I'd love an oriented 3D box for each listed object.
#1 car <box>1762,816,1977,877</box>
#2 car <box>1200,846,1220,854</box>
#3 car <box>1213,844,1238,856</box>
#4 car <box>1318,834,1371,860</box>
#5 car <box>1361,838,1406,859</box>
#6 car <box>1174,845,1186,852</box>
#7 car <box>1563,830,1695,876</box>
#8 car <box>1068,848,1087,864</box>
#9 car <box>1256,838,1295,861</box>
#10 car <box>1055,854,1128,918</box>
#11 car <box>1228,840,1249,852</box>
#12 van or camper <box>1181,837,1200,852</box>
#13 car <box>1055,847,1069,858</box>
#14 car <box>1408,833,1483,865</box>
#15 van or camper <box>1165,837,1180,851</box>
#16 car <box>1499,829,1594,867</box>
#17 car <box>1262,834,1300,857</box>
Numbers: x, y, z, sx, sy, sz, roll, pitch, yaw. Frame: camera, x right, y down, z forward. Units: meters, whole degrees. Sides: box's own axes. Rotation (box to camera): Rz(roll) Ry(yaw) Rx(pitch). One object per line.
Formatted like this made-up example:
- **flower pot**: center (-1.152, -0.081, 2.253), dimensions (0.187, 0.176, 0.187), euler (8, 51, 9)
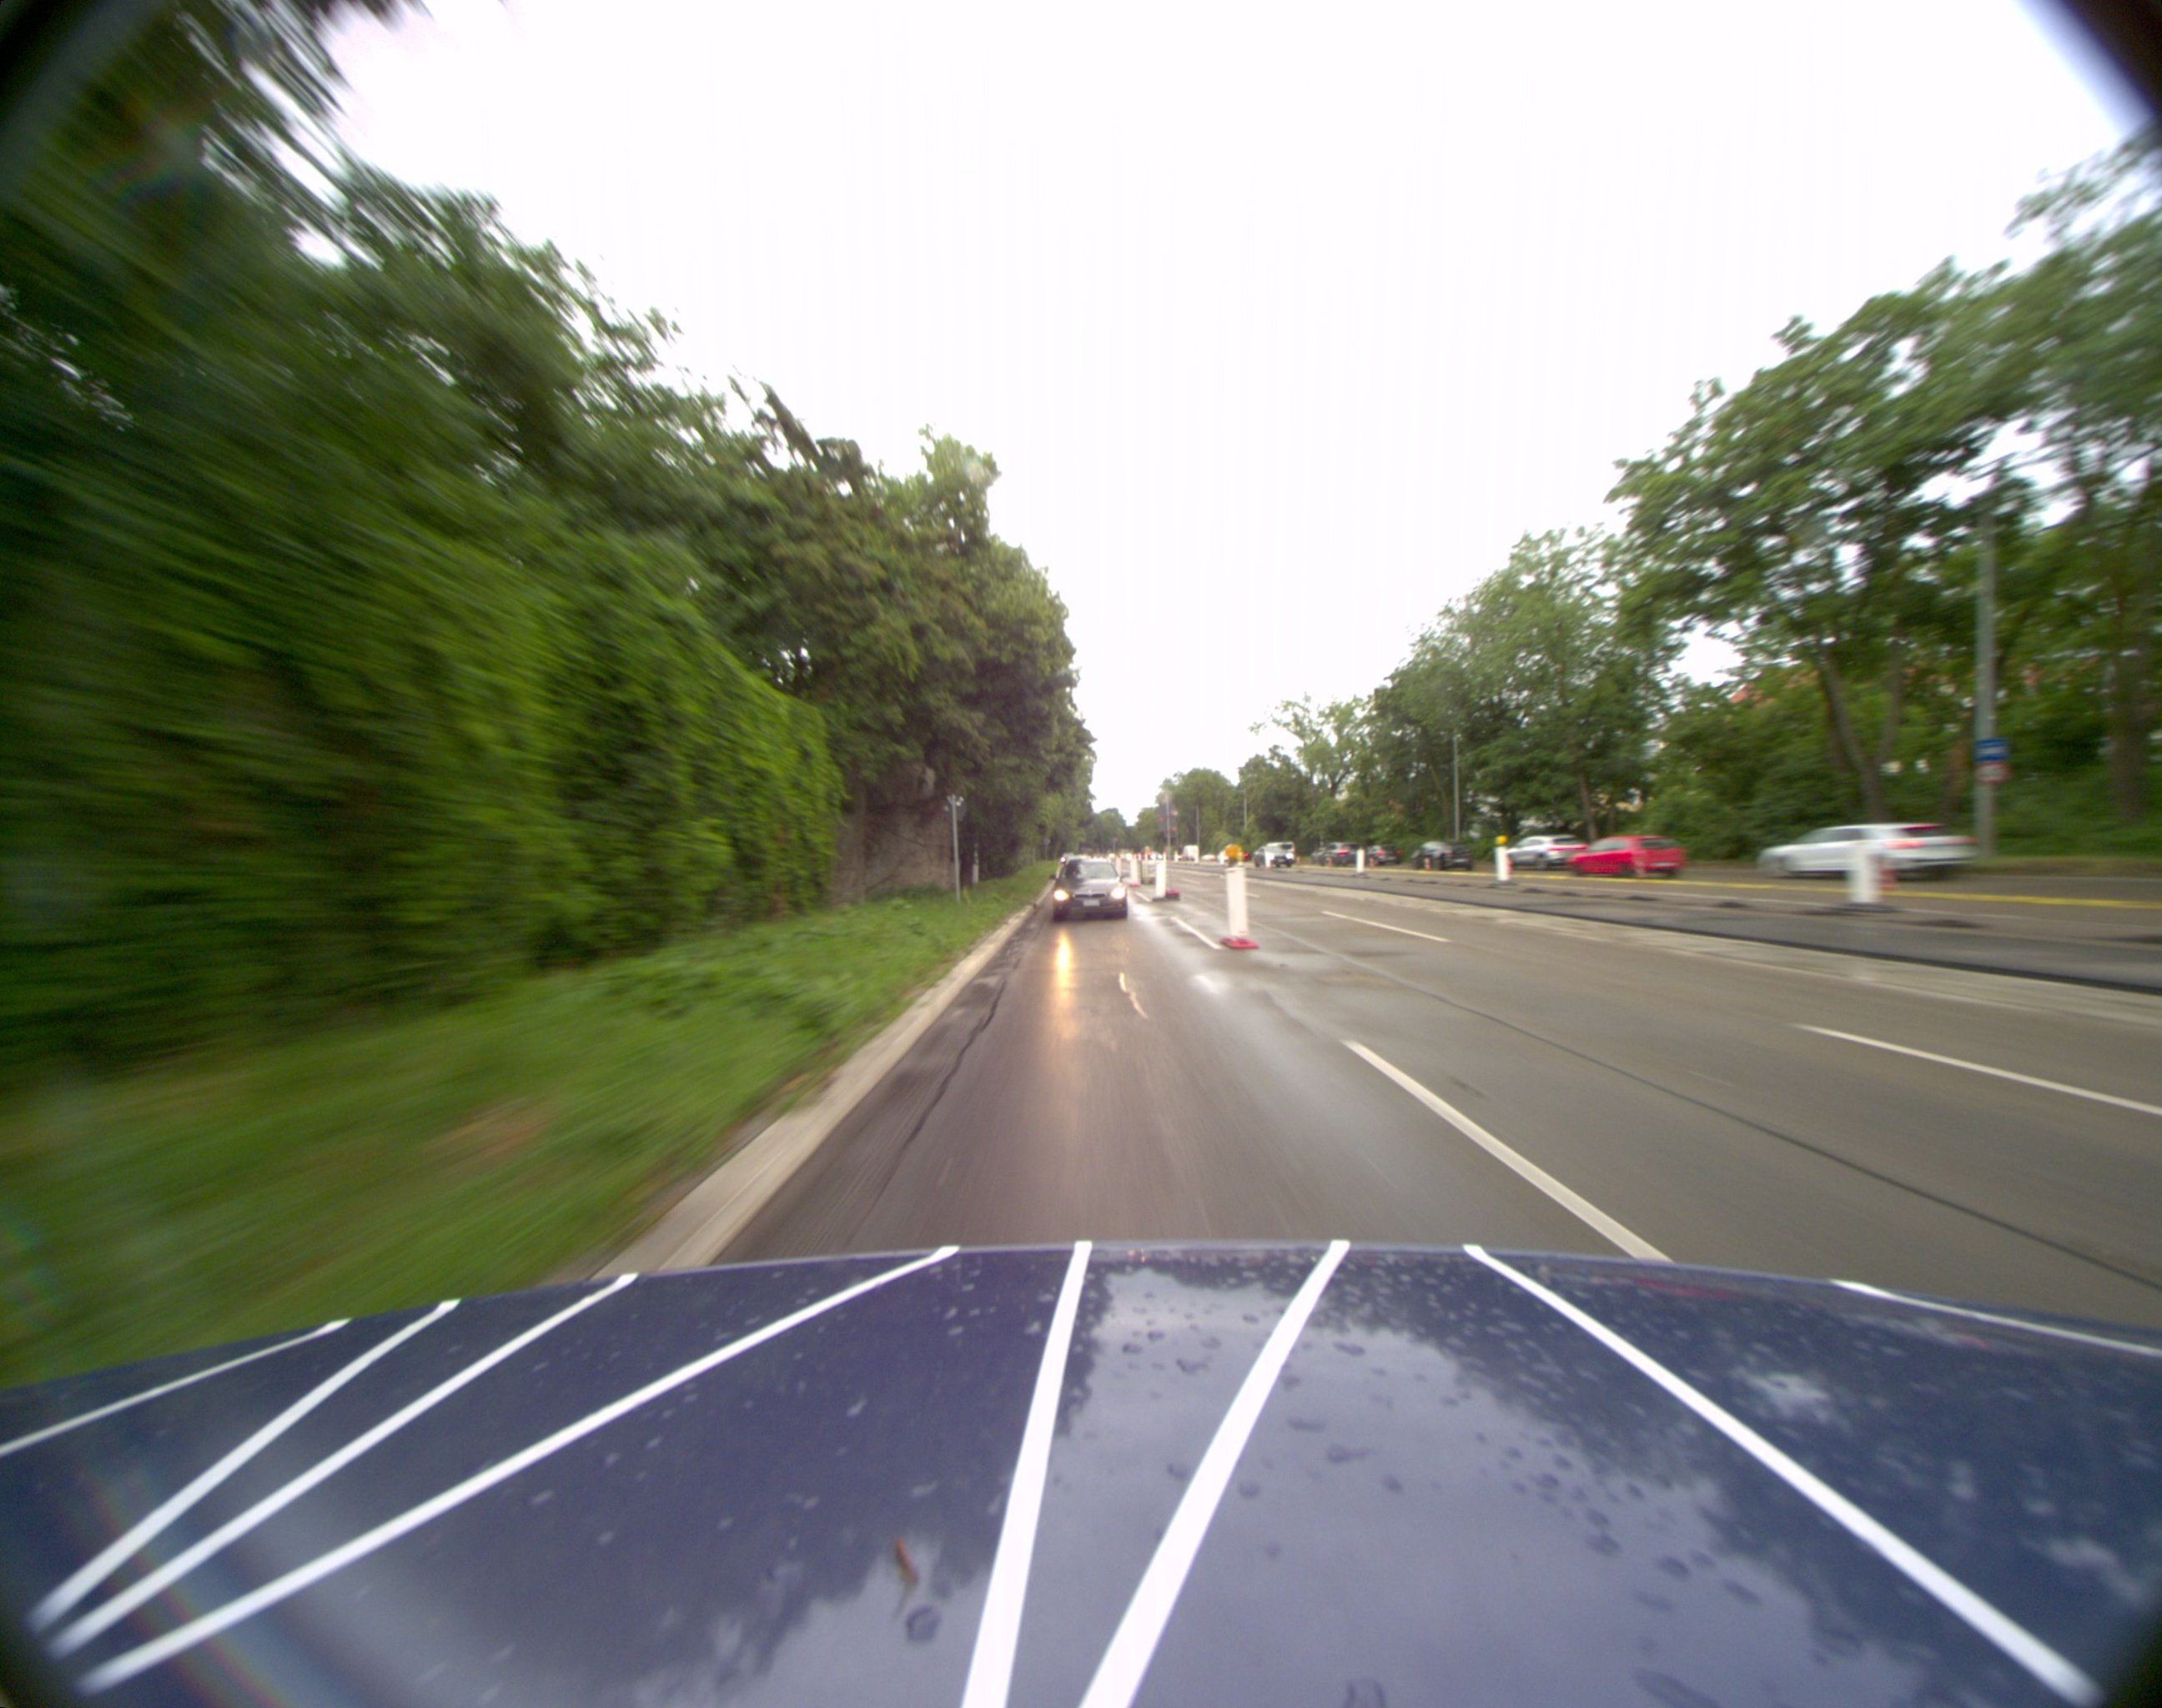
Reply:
- **car**: center (21.539, -0.204, 21.049), dimensions (1.683, 1.488, 4.148), euler (-1, 1, 1)
- **car**: center (19.789, -0.586, 116.753), dimensions (1.694, 1.176, 3.996), euler (-3, 1, -11)
- **car**: center (17.569, -0.517, 92.425), dimensions (1.999, 1.407, 4.391), euler (-1, 1, -3)
- **car**: center (18.690, -0.501, 54.178), dimensions (2.026, 1.715, 5.012), euler (-3, 1, 1)
- **car**: center (21.549, -0.419, 54.230), dimensions (1.649, 1.412, 4.000), euler (-2, 1, 1)
- **car**: center (19.076, -1.005, 146.632), dimensions (1.720, 1.357, 4.081), euler (-1, 1, 0)
- **car**: center (18.845, -0.057, 26.377), dimensions (1.683, 1.392, 4.012), euler (-2, 1, 1)
- **car**: center (-0.381, 0.176, 84.957), dimensions (1.998, 1.707, 3.999), euler (-1, 1, 1)
- **car**: center (15.324, -0.369, 60.091), dimensions (1.998, 1.619, 4.812), euler (-2, 1, 2)
- **car**: center (0.202, 0.729, 19.416), dimensions (1.658, 1.409, 4.128), euler (0, 1, -1)
- **car**: center (20.522, -1.038, 99.206), dimensions (1.733, 1.467, 4.486), euler (-2, 1, -1)
- **van or camper**: center (19.365, -1.679, 134.259), dimensions (1.999, 2.540, 7.728), euler (-3, 1, 0)
- **car**: center (-2.889, -0.265, 118.381), dimensions (1.998, 1.707, 3.999), euler (-1, 1, 1)
- **car**: center (18.779, -0.269, 39.379), dimensions (1.781, 1.479, 4.195), euler (-2, 1, -1)
- **van or camper**: center (19.938, -2.207, 165.883), dimensions (2.303, 3.045, 7.449), euler (-2, 1, -1)
- **car**: center (21.671, -0.285, 35.601), dimensions (1.707, 1.617, 4.418), euler (-3, 1, 0)
- **car**: center (18.332, -0.752, 69.793), dimensions (1.999, 1.960, 4.901), euler (-3, 1, -2)
